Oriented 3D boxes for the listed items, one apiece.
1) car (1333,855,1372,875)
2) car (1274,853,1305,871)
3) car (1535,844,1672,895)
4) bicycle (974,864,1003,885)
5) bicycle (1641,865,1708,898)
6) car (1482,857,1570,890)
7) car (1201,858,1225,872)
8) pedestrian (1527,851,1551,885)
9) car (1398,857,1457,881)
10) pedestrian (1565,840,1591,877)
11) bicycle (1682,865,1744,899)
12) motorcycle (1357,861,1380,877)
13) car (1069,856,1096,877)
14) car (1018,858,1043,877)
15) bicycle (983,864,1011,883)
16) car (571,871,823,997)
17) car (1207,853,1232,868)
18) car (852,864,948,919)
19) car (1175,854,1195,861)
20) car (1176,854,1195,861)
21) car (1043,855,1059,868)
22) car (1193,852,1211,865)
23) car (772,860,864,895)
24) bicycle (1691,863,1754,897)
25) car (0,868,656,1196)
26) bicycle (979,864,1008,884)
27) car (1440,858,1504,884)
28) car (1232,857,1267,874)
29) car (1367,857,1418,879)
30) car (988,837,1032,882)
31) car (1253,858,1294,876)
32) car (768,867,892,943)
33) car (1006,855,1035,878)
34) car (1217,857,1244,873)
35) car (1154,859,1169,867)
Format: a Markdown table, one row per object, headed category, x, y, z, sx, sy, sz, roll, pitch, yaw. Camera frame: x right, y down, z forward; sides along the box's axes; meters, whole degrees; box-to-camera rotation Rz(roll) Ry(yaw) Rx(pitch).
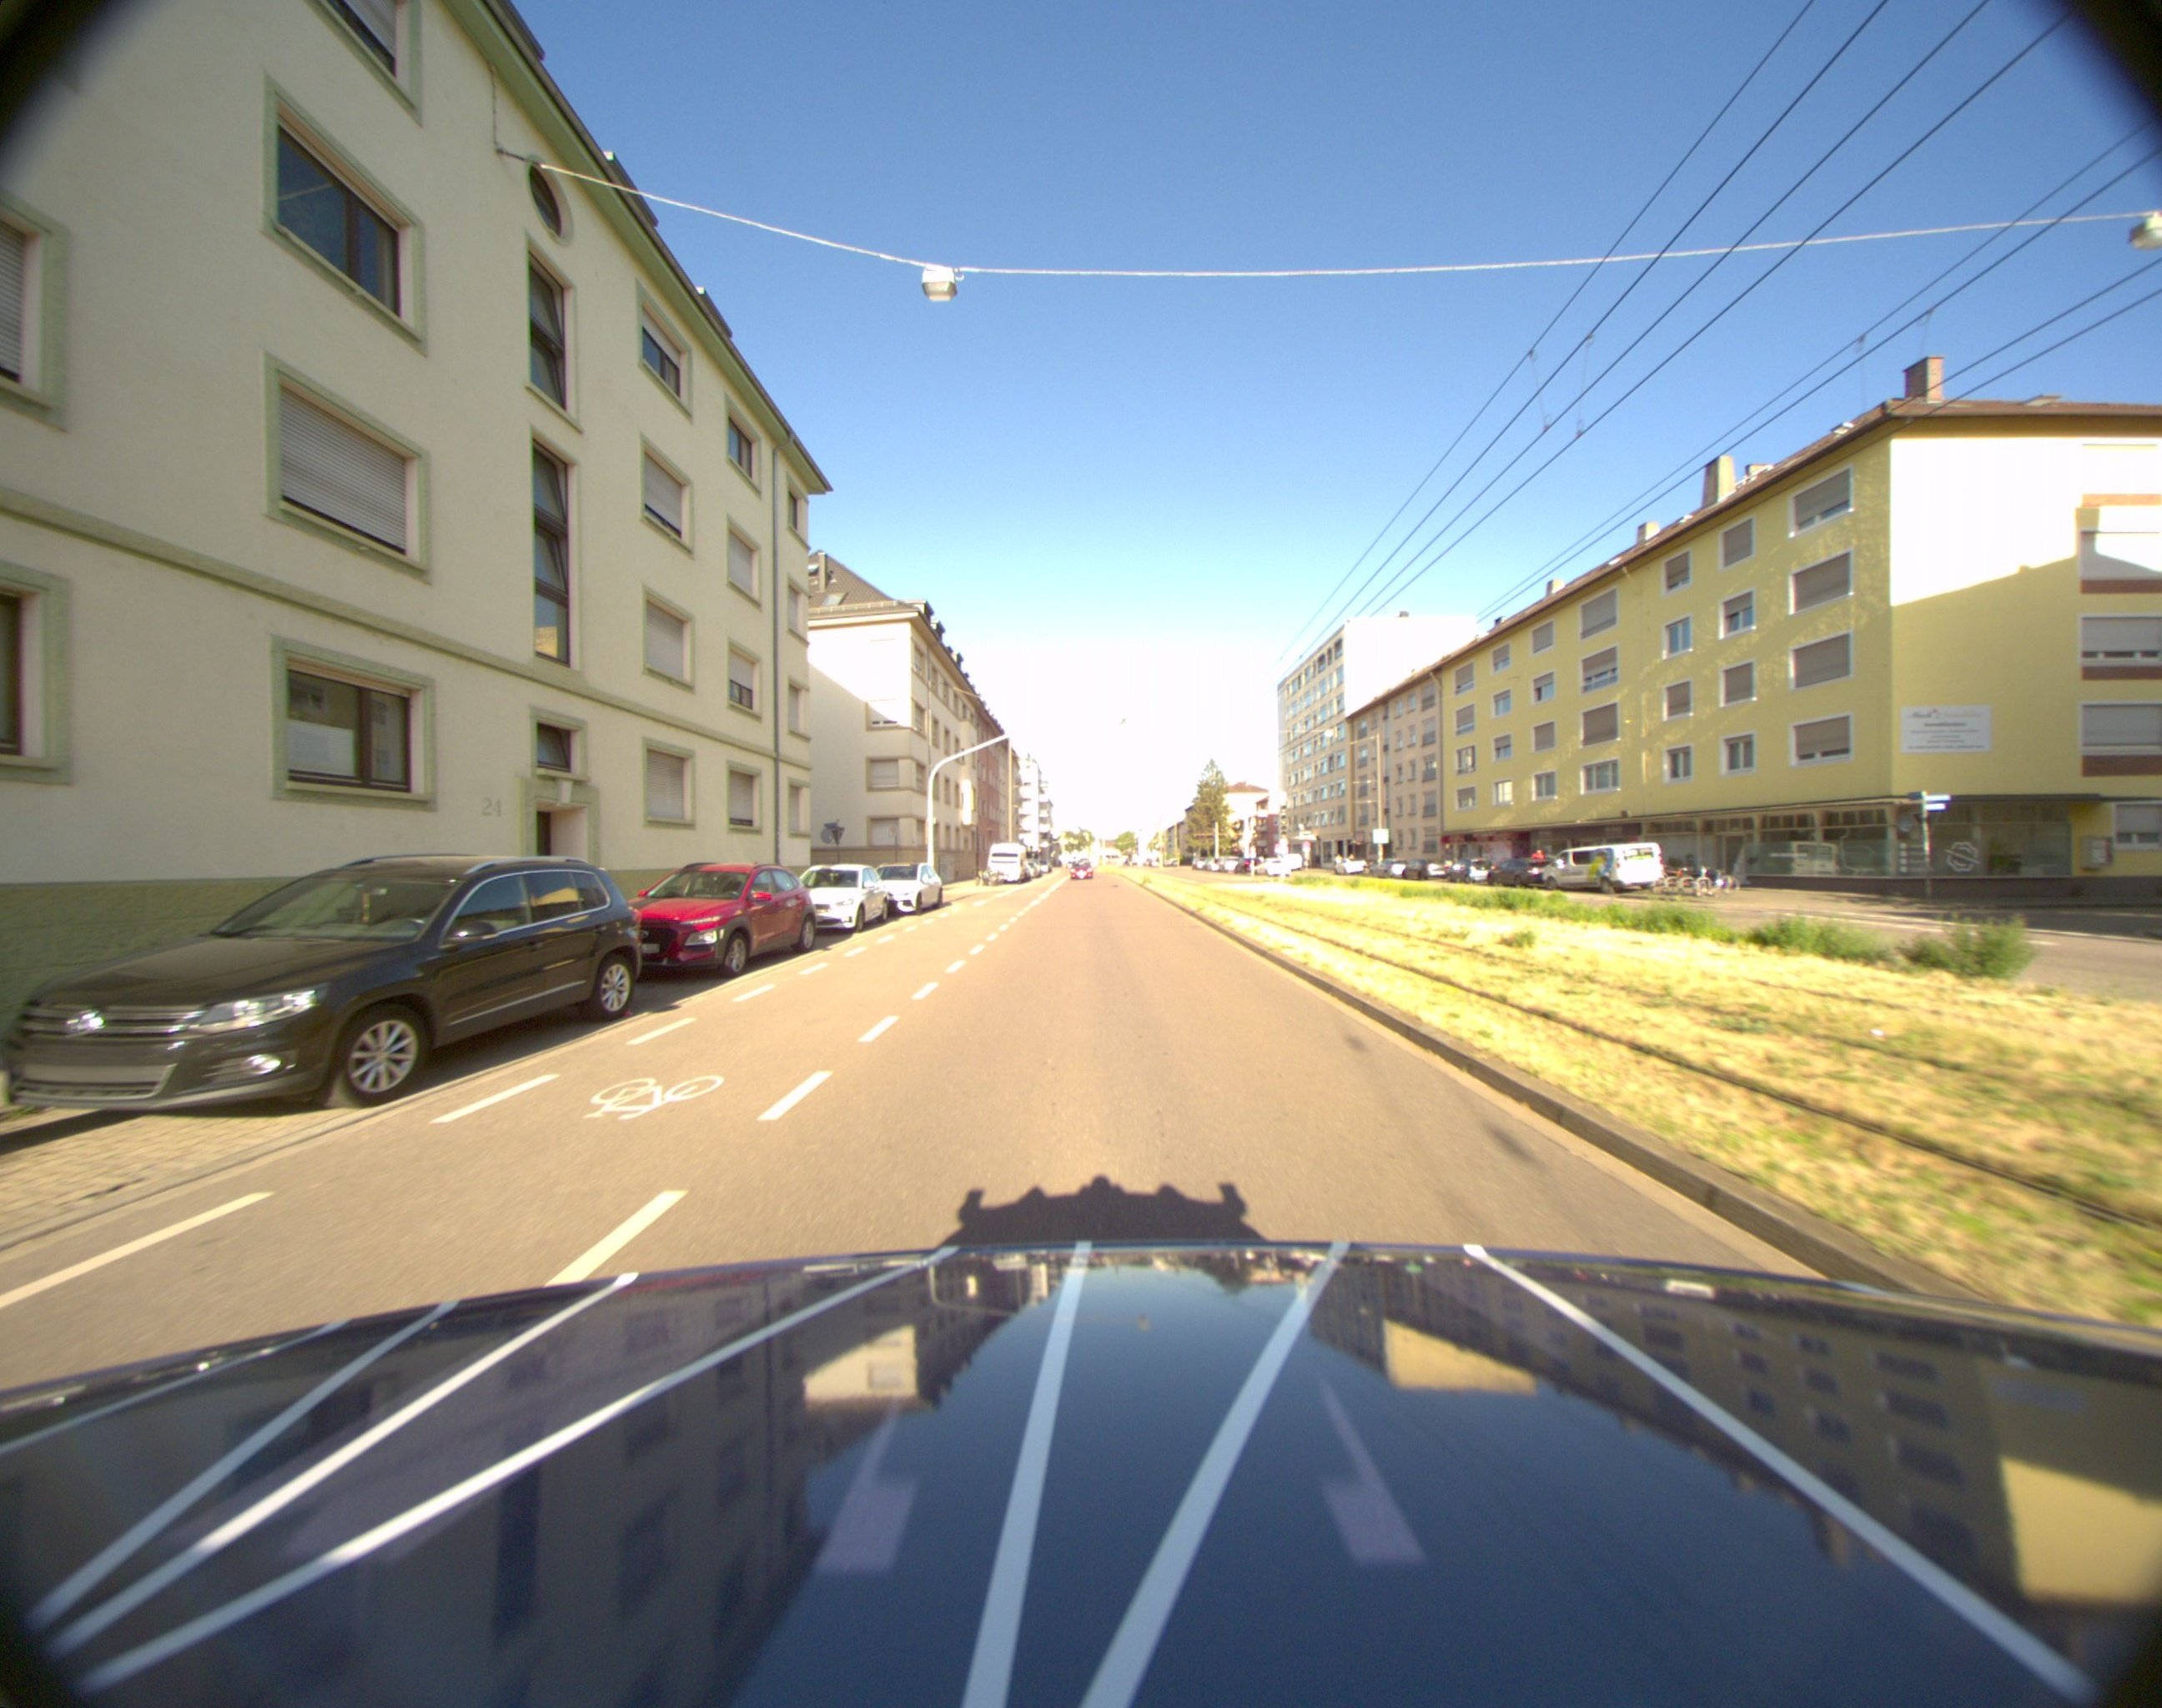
| category | x | y | z | sx | sy | sz | roll | pitch | yaw |
| --- | --- | --- | --- | --- | --- | --- | --- | --- | --- |
| car | 22.847 | 0.918 | 64.060 | 1.763 | 1.477 | 4.200 | -3 | 0 | 1 |
| car | 23.599 | 0.859 | 86.141 | 1.999 | 1.887 | 4.669 | -3 | 0 | -1 |
| car | 22.593 | 0.650 | 33.212 | 1.999 | 1.938 | 5.500 | -3 | 0 | -2 |
| bicycle | -5.163 | 1.136 | 42.190 | 1.912 | 1.080 | 0.475 | 1 | -1 | 44 |
| bicycle | 22.672 | 1.042 | 29.023 | 2.103 | 1.099 | 0.472 | -3 | 0 | 1 |
| car | 22.612 | 0.955 | 38.815 | 1.787 | 1.465 | 4.596 | -3 | 0 | 1 |
| car | 15.533 | 1.265 | 89.492 | 1.999 | 1.541 | 4.366 | 1 | 0 | -1 |
| pedestrian | 24.172 | 0.738 | 40.110 | 0.672 | 1.733 | 0.845 | -3 | 0 | 1 |
| car | 22.764 | 0.961 | 50.099 | 1.787 | 1.412 | 4.415 | -3 | 0 | 1 |
| pedestrian | 25.639 | 0.216 | 39.200 | 0.672 | 1.849 | 0.924 | -3 | 0 | 1 |
| bicycle | 22.707 | 1.010 | 27.312 | 1.824 | 1.099 | 0.390 | -3 | 0 | 1 |
| motorcycle | 22.670 | 1.157 | 59.930 | 2.115 | 1.132 | 0.486 | -3 | 0 | -32 |
| car | 0.148 | 0.916 | 56.622 | 1.862 | 1.461 | 3.809 | 0 | 0 | 1 |
| car | -4.275 | 1.137 | 64.596 | 1.625 | 1.452 | 4.055 | 2 | 0 | 2 |
| bicycle | -4.890 | 1.143 | 44.247 | 0.487 | 1.080 | 2.023 | -4 | 0 | -42 |
| car | -5.508 | 1.046 | 11.583 | 1.639 | 1.508 | 4.189 | 0 | 0 | 1 |
| car | 14.987 | 0.746 | 82.258 | 1.861 | 1.541 | 4.240 | 1 | 0 | -1 |
| car | -5.202 | 1.022 | 22.451 | 1.698 | 1.450 | 4.380 | 0 | 0 | 1 |
| car | 21.768 | 0.703 | 159.402 | 3.997 | 1.324 | 1.738 | 0 | 0 | 0 |
| car | 22.497 | 0.775 | 163.920 | 3.997 | 1.324 | 1.738 | 0 | 0 | 0 |
| car | -3.447 | 0.871 | 87.563 | 1.762 | 1.543 | 2.649 | 1 | 0 | -1 |
| car | 15.149 | 0.578 | 95.378 | 1.617 | 1.550 | 4.000 | 1 | 0 | 0 |
| car | -12.594 | 1.121 | 36.416 | 3.735 | 1.416 | 1.714 | -3 | 0 | 11 |
| bicycle | 22.717 | 0.906 | 26.896 | 1.824 | 1.099 | 0.390 | -3 | 0 | 1 |
| car | -5.488 | 0.987 | 6.196 | 1.640 | 1.637 | 4.373 | 2 | 0 | -1 |
| bicycle | -4.986 | 1.135 | 43.329 | 1.912 | 1.081 | 0.474 | 1 | 4 | 44 |
| car | 22.816 | 0.956 | 44.479 | 1.787 | 1.377 | 3.768 | -3 | 0 | 1 |
| car | 14.998 | 1.000 | 67.881 | 1.788 | 1.519 | 4.414 | 0 | -1 | -4 |
| car | 22.653 | 0.993 | 55.450 | 1.787 | 1.377 | 4.415 | -3 | 0 | -1 |
| car | -4.490 | 0.369 | 49.024 | 2.156 | 2.680 | 6.292 | 1 | 0 | 1 |
| car | 15.456 | 1.033 | 61.131 | 1.839 | 1.376 | 4.413 | 0 | -1 | -5 |
| car | -5.499 | 1.051 | 17.191 | 1.640 | 1.450 | 4.081 | 0 | 0 | -3 |
| car | -4.419 | 0.932 | 56.218 | 1.852 | 1.627 | 4.574 | 0 | 0 | -1 |
| car | 14.759 | 1.054 | 75.066 | 1.787 | 1.572 | 4.608 | 0 | -1 | 0 |
| car | 17.423 | 1.954 | 163.453 | 1.718 | 1.379 | 3.720 | -3 | 0 | 32 |
